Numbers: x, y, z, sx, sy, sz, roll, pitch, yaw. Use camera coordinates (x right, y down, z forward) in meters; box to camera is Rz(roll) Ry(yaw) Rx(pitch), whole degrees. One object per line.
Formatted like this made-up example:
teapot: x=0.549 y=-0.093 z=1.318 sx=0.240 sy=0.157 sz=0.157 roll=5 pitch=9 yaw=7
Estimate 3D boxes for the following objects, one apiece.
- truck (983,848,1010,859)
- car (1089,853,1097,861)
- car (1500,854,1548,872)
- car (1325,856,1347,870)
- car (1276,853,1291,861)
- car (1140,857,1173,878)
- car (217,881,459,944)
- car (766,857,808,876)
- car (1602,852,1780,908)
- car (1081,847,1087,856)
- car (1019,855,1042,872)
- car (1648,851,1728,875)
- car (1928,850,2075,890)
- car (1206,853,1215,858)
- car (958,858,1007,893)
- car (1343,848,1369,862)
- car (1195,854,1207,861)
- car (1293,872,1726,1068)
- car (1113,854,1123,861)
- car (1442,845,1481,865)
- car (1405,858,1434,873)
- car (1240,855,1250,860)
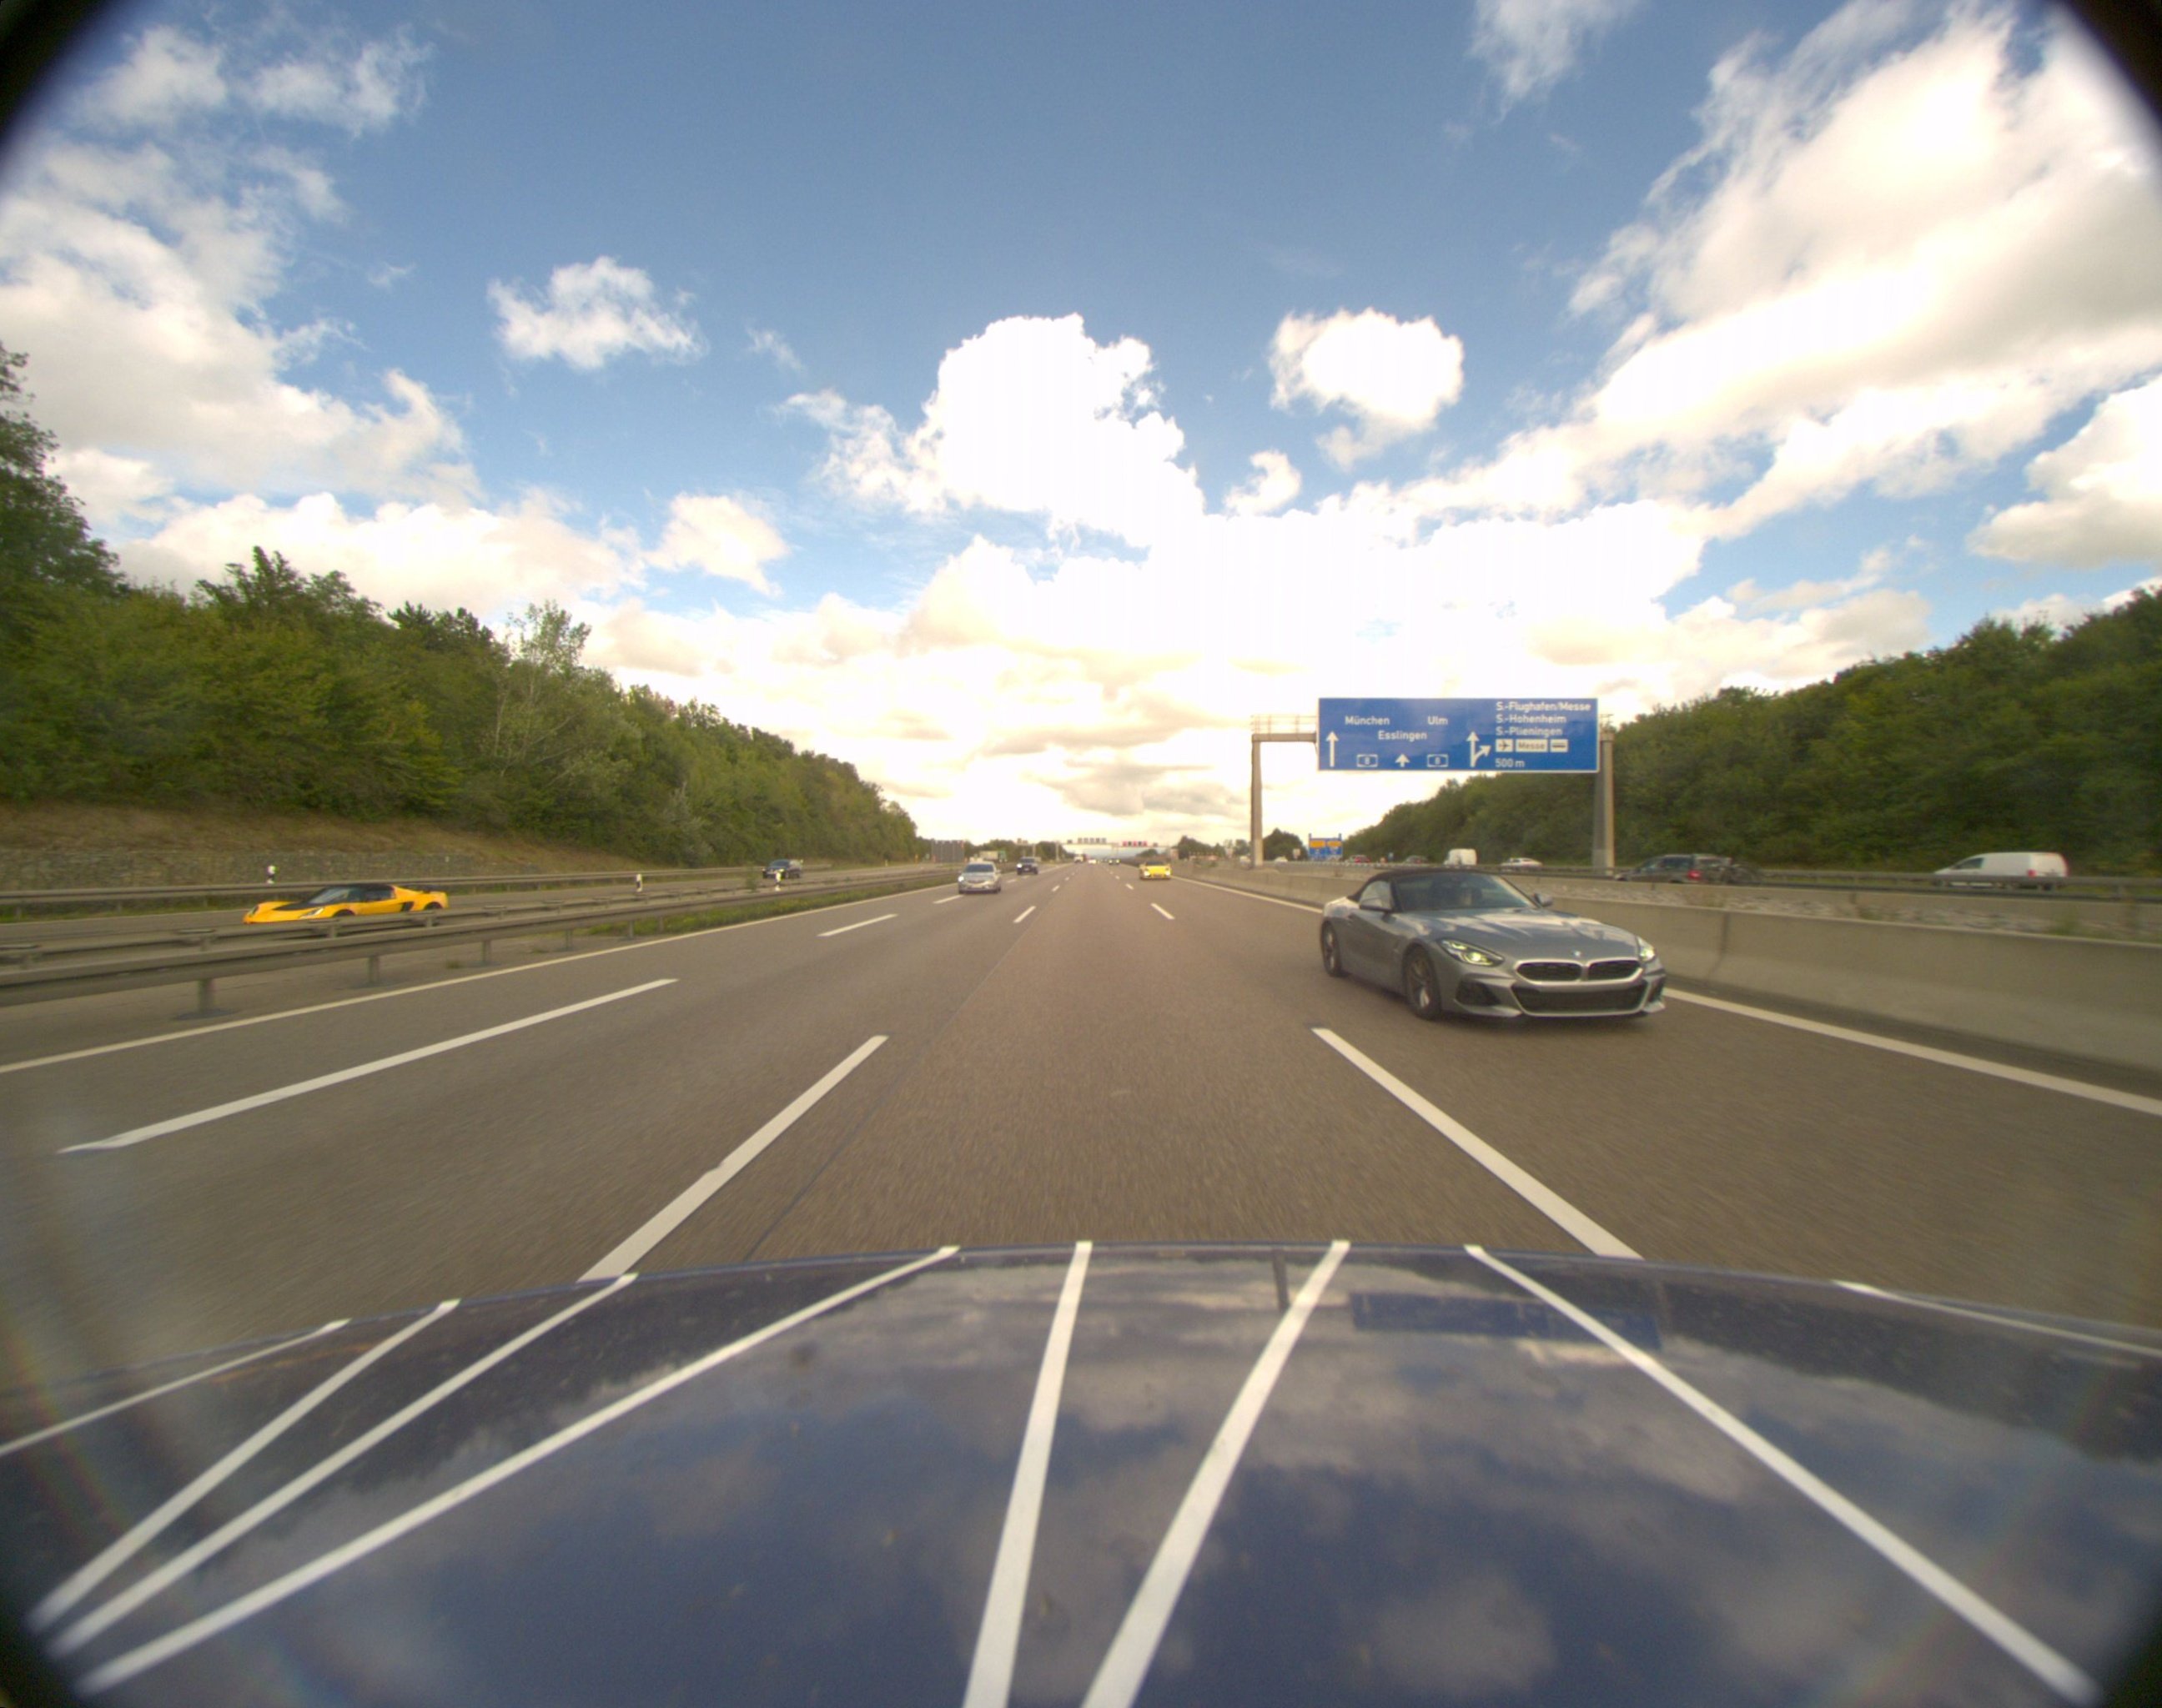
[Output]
truck: x=-29.068 y=-0.112 z=260.045 sx=2.975 sy=3.775 sz=13.428 roll=-1 pitch=0 yaw=-34
car: x=2.458 y=0.665 z=157.910 sx=1.736 sy=1.608 sz=4.000 roll=-1 pitch=0 yaw=1
car: x=38.518 y=0.753 z=66.121 sx=1.662 sy=1.435 sz=4.323 roll=0 pitch=0 yaw=0
car: x=40.030 y=1.401 z=119.282 sx=1.998 sy=2.002 sz=4.344 roll=-2 pitch=0 yaw=1
car: x=36.910 y=0.528 z=138.635 sx=1.680 sy=1.508 sz=4.369 roll=0 pitch=0 yaw=2
car: x=4.913 y=0.847 z=49.971 sx=1.811 sy=1.307 sz=4.247 roll=1 pitch=0 yaw=0
car: x=-17.650 y=1.334 z=18.396 sx=1.716 sy=1.175 sz=4.168 roll=-1 pitch=0 yaw=0
car: x=-22.610 y=0.920 z=58.532 sx=1.716 sy=1.407 sz=4.168 roll=0 pitch=0 yaw=-2
car: x=21.079 y=0.812 z=26.644 sx=1.839 sy=1.775 sz=5.503 roll=0 pitch=0 yaw=0
car: x=0.847 y=-0.824 z=237.448 sx=1.854 sy=2.565 sz=5.412 roll=0 pitch=0 yaw=1
car: x=-5.062 y=0.897 z=76.423 sx=1.876 sy=1.626 sz=4.859 roll=-1 pitch=0 yaw=1
car: x=42.685 y=0.626 z=53.591 sx=1.739 sy=1.624 sz=4.947 roll=0 pitch=0 yaw=0
car: x=42.303 y=0.699 z=35.101 sx=1.596 sy=1.747 sz=4.282 roll=0 pitch=0 yaw=0
car: x=36.848 y=0.330 z=216.272 sx=1.647 sy=1.307 sz=4.247 roll=0 pitch=0 yaw=0
car: x=-4.615 y=0.983 z=36.139 sx=1.687 sy=1.476 sz=4.615 roll=-1 pitch=0 yaw=0
car: x=35.283 y=0.121 z=97.609 sx=1.856 sy=1.719 sz=4.426 roll=0 pitch=0 yaw=1
car: x=23.062 y=0.616 z=146.416 sx=1.647 sy=1.307 sz=4.247 roll=0 pitch=0 yaw=0
car: x=3.876 y=0.922 z=8.123 sx=1.878 sy=1.295 sz=4.942 roll=-1 pitch=0 yaw=1
car: x=6.899 y=0.653 z=142.426 sx=1.593 sy=1.307 sz=3.978 roll=1 pitch=0 yaw=0
car: x=45.792 y=0.142 z=91.543 sx=1.998 sy=2.301 sz=5.685 roll=0 pitch=0 yaw=3
car: x=39.410 y=1.358 z=88.569 sx=1.662 sy=1.637 sz=4.000 roll=0 pitch=0 yaw=0
car: x=40.141 y=0.892 z=185.865 sx=1.647 sy=1.307 sz=4.247 roll=0 pitch=0 yaw=0
